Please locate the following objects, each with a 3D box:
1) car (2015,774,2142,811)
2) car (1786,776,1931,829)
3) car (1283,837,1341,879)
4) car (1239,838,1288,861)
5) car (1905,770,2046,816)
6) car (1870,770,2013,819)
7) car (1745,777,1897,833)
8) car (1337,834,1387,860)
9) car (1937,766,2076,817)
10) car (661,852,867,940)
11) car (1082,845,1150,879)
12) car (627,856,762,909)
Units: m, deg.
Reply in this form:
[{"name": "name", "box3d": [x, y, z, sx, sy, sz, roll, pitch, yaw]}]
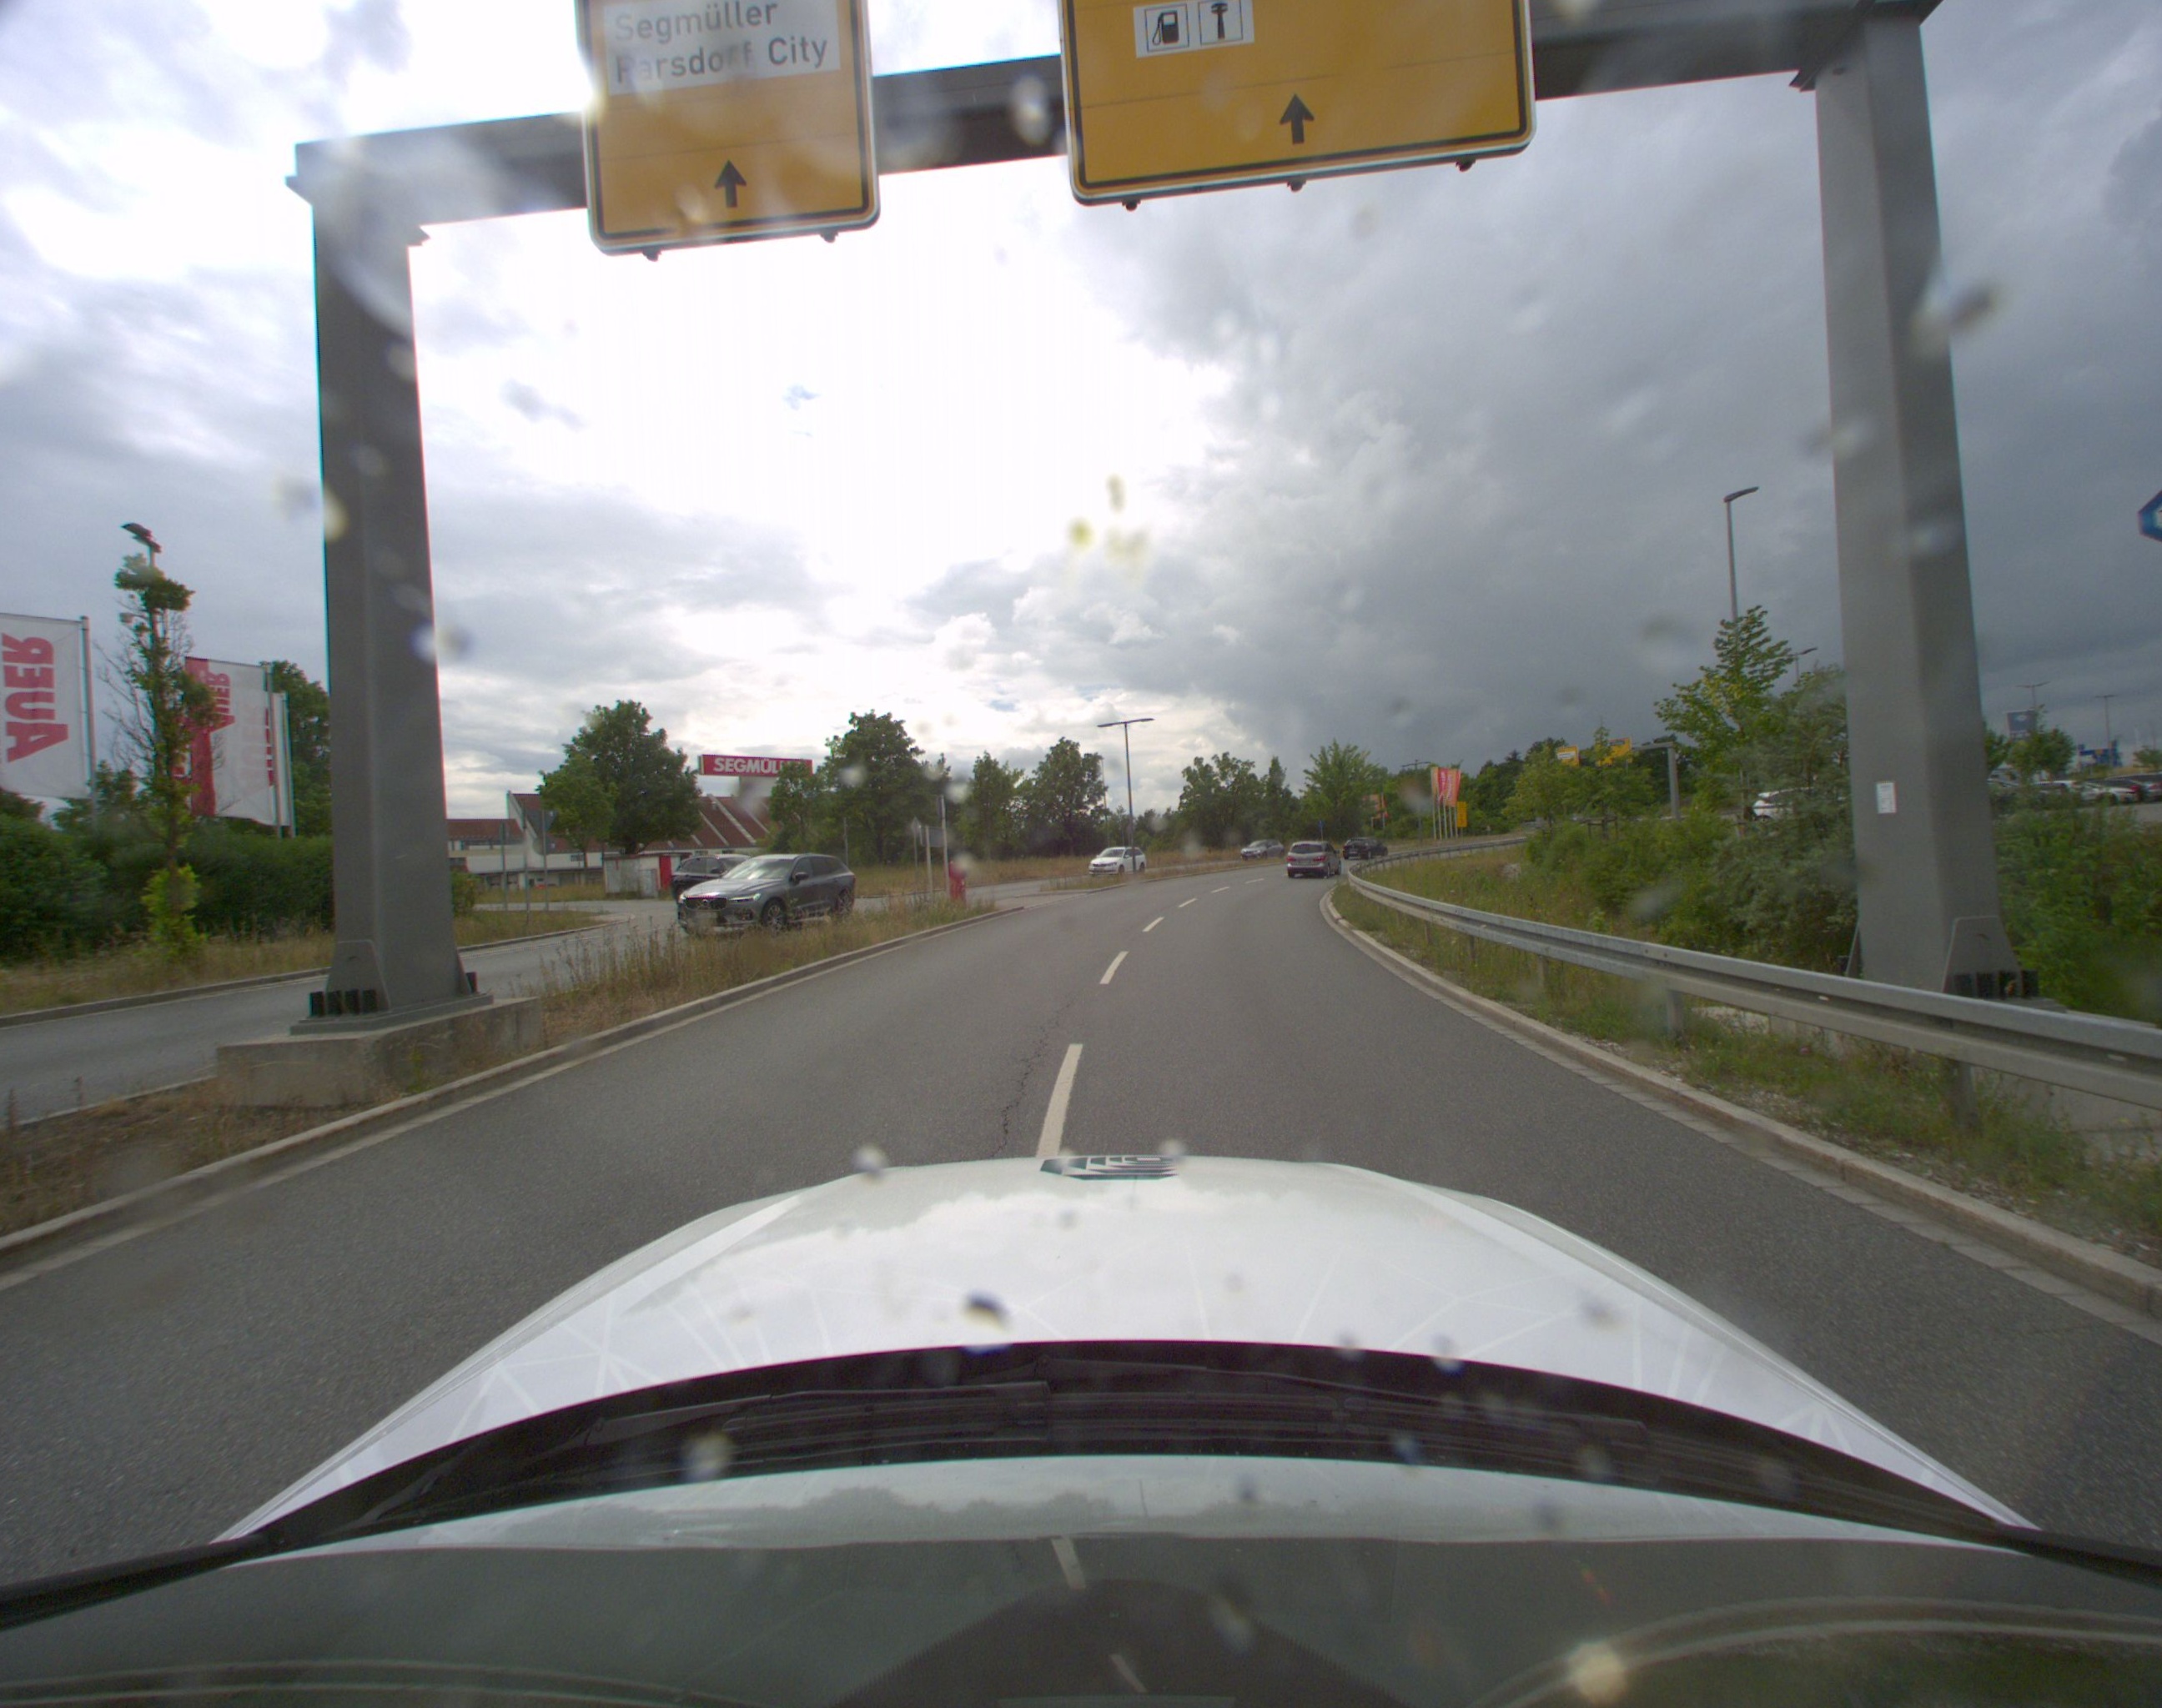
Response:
[{"name": "car", "box3d": [52.499, -3.230, 42.948, 1.599, 1.389, 3.931, -4, -2, -27]}, {"name": "car", "box3d": [28.485, -1.870, 29.945, 1.735, 1.635, 3.416, -3, 0, -26]}, {"name": "car", "box3d": [10.363, 0.247, 36.350, 1.751, 1.617, 3.943, -5, -4, 25]}, {"name": "car", "box3d": [12.996, -0.328, 57.810, 1.445, 1.486, 4.120, -2, 0, 44]}, {"name": "car", "box3d": [39.399, -2.669, 35.971, 1.726, 1.534, 3.858, -3, -2, -30]}, {"name": "car", "box3d": [37.171, -2.543, 35.286, 1.726, 1.629, 3.858, -3, -2, -30]}, {"name": "car", "box3d": [26.547, -1.726, 29.341, 1.648, 1.538, 3.595, -4, -2, -27]}, {"name": "car", "box3d": [18.523, -0.491, 53.568, 1.851, 1.605, 3.758, -2, -1, 40]}, {"name": "car", "box3d": [42.186, -2.792, 37.209, 1.726, 1.819, 3.823, -3, -2, -30]}, {"name": "car", "box3d": [-6.631, 0.778, 17.717, 1.796, 1.629, 4.704, 0, 0, 13]}, {"name": "car", "box3d": [1.857, 0.383, 41.899, 1.698, 1.634, 4.294, -2, 0, 30]}, {"name": "car", "box3d": [-12.404, 0.917, 26.101, 4.200, 1.550, 1.886, -2, 0, 32]}]
